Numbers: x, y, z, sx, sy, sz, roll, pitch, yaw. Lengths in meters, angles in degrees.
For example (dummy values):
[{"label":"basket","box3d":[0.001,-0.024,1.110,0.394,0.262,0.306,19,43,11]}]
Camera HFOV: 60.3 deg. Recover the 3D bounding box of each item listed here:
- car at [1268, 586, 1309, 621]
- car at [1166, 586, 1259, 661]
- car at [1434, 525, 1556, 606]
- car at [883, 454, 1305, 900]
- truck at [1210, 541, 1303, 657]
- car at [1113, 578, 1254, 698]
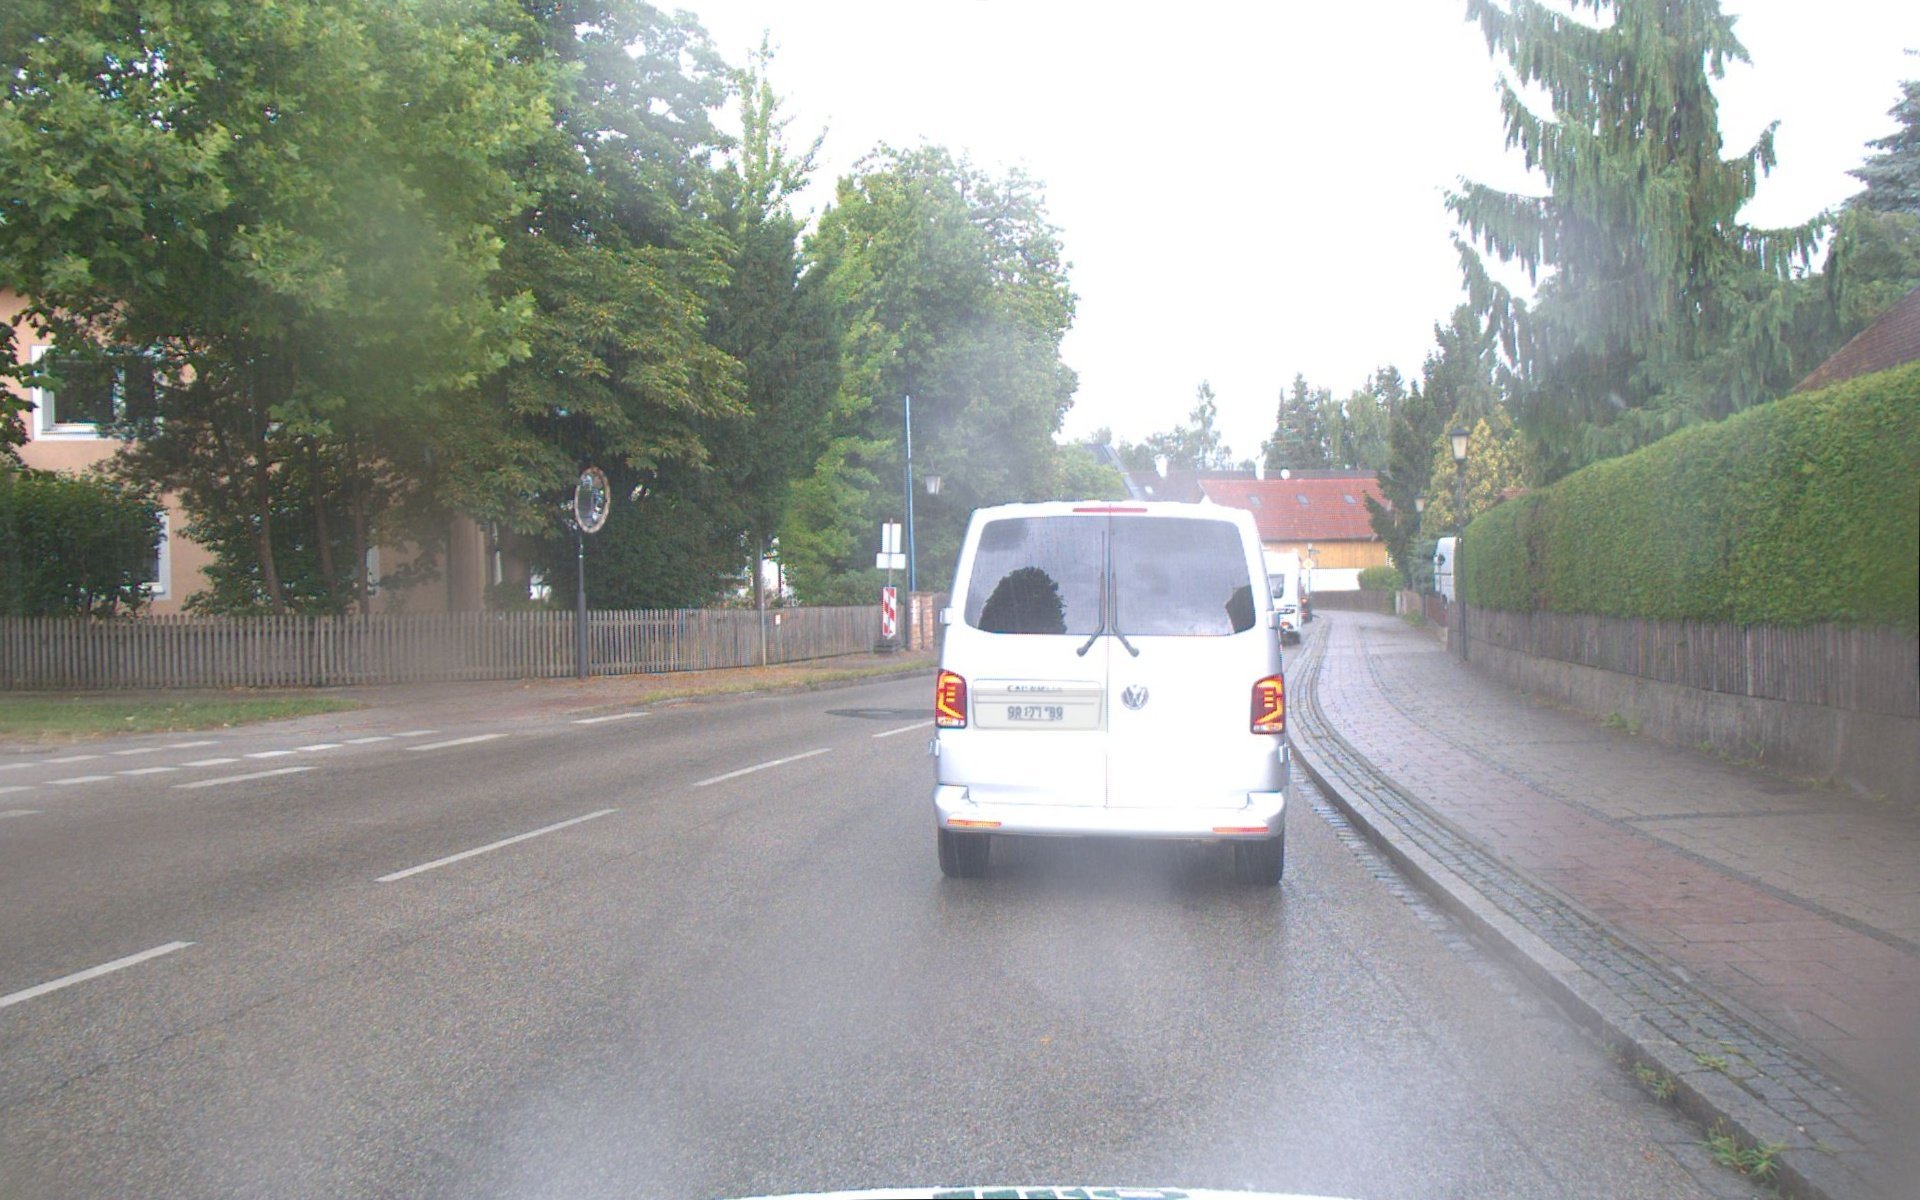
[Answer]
[{"label":"car","box3d":[15.039,0.163,75.588,1.762,1.534,4.003,1,0,12]},{"label":"car","box3d":[5.654,0.508,36.709,1.762,1.534,4.003,1,0,12]},{"label":"car","box3d":[15.629,-0.954,48.587,1.953,2.211,4.952,1,0,0]},{"label":"car","box3d":[1.008,0.357,9.768,1.762,2.049,4.003,1,0,15]},{"label":"truck","box3d":[8.775,-0.013,48.527,2.422,3.128,6.301,1,0,12]},{"label":"car","box3d":[3.431,0.531,24.785,1.762,1.616,4.003,1,0,12]}]
